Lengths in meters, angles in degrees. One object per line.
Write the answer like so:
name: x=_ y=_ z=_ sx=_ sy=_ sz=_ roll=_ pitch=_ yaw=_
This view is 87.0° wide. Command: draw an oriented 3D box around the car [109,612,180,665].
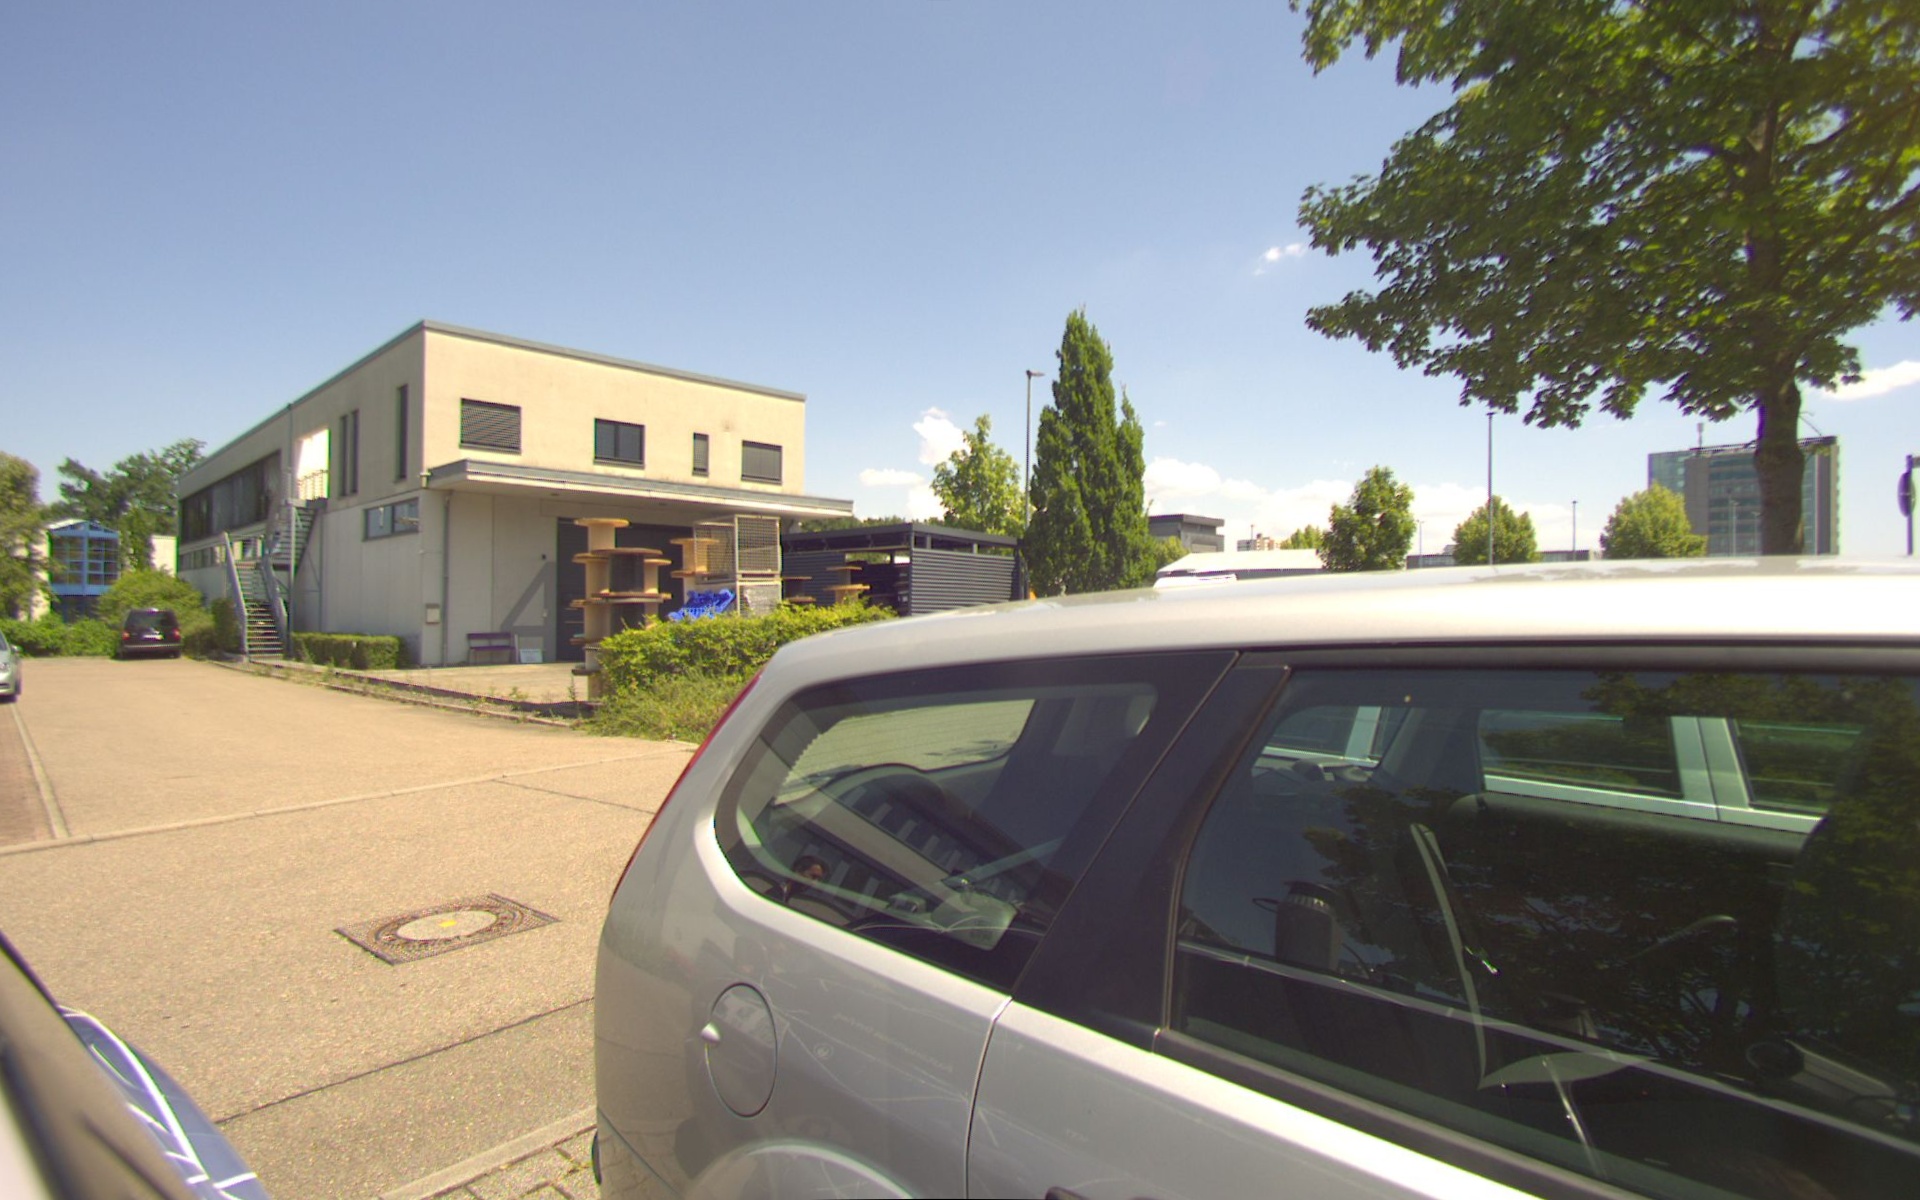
car: x=-30.055 y=1.366 z=37.262 sx=1.761 sy=1.817 sz=4.004 roll=-1 pitch=0 yaw=-43

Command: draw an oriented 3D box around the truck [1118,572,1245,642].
truck: x=9.194 y=0.259 z=41.615 sx=5.614 sy=2.692 sz=2.420 roll=-1 pitch=-1 yaw=-45

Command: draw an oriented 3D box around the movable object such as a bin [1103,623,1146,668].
movable object such as a bin: x=3.750 y=1.029 z=23.092 sx=0.581 sy=0.977 sz=0.761 roll=-1 pitch=-1 yaw=-40

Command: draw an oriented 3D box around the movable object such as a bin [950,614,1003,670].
movable object such as a bin: x=0.419 y=1.024 z=25.107 sx=1.056 sy=1.346 sz=0.761 roll=-1 pitch=-1 yaw=-40

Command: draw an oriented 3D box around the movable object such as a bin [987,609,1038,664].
movable object such as a bin: x=1.359 y=0.928 z=26.052 sx=1.056 sy=1.346 sz=0.761 roll=-1 pitch=-1 yaw=-40

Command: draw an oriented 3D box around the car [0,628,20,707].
car: x=-19.067 y=1.250 z=19.182 sx=1.686 sy=1.402 sz=3.816 roll=1 pitch=-1 yaw=-41

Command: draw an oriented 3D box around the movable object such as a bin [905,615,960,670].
movable object such as a bin: x=-0.660 y=1.006 z=24.330 sx=1.056 sy=1.280 sz=0.761 roll=-1 pitch=-1 yaw=-40

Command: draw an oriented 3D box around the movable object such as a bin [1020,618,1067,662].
movable object such as a bin: x=2.212 y=1.045 z=26.733 sx=0.972 sy=1.092 sz=0.761 roll=-1 pitch=-1 yaw=-40

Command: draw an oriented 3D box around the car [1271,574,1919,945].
car: x=3.749 y=0.635 z=5.033 sx=3.886 sy=1.459 sz=1.632 roll=-1 pitch=-1 yaw=38

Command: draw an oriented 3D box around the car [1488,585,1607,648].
car: x=17.408 y=0.456 z=29.921 sx=3.936 sy=1.751 sz=1.776 roll=-1 pitch=0 yaw=-39

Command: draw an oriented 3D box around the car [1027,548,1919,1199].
car: x=2.277 y=0.635 z=3.103 sx=3.886 sy=1.490 sz=1.632 roll=-1 pitch=-1 yaw=38

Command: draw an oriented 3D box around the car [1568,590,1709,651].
car: x=18.603 y=0.535 z=27.709 sx=3.932 sy=1.533 sz=1.658 roll=-1 pitch=0 yaw=-31

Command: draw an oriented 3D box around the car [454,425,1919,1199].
car: x=1.327 y=0.640 z=0.982 sx=4.345 sy=1.490 sz=1.702 roll=-1 pitch=-1 yaw=41
